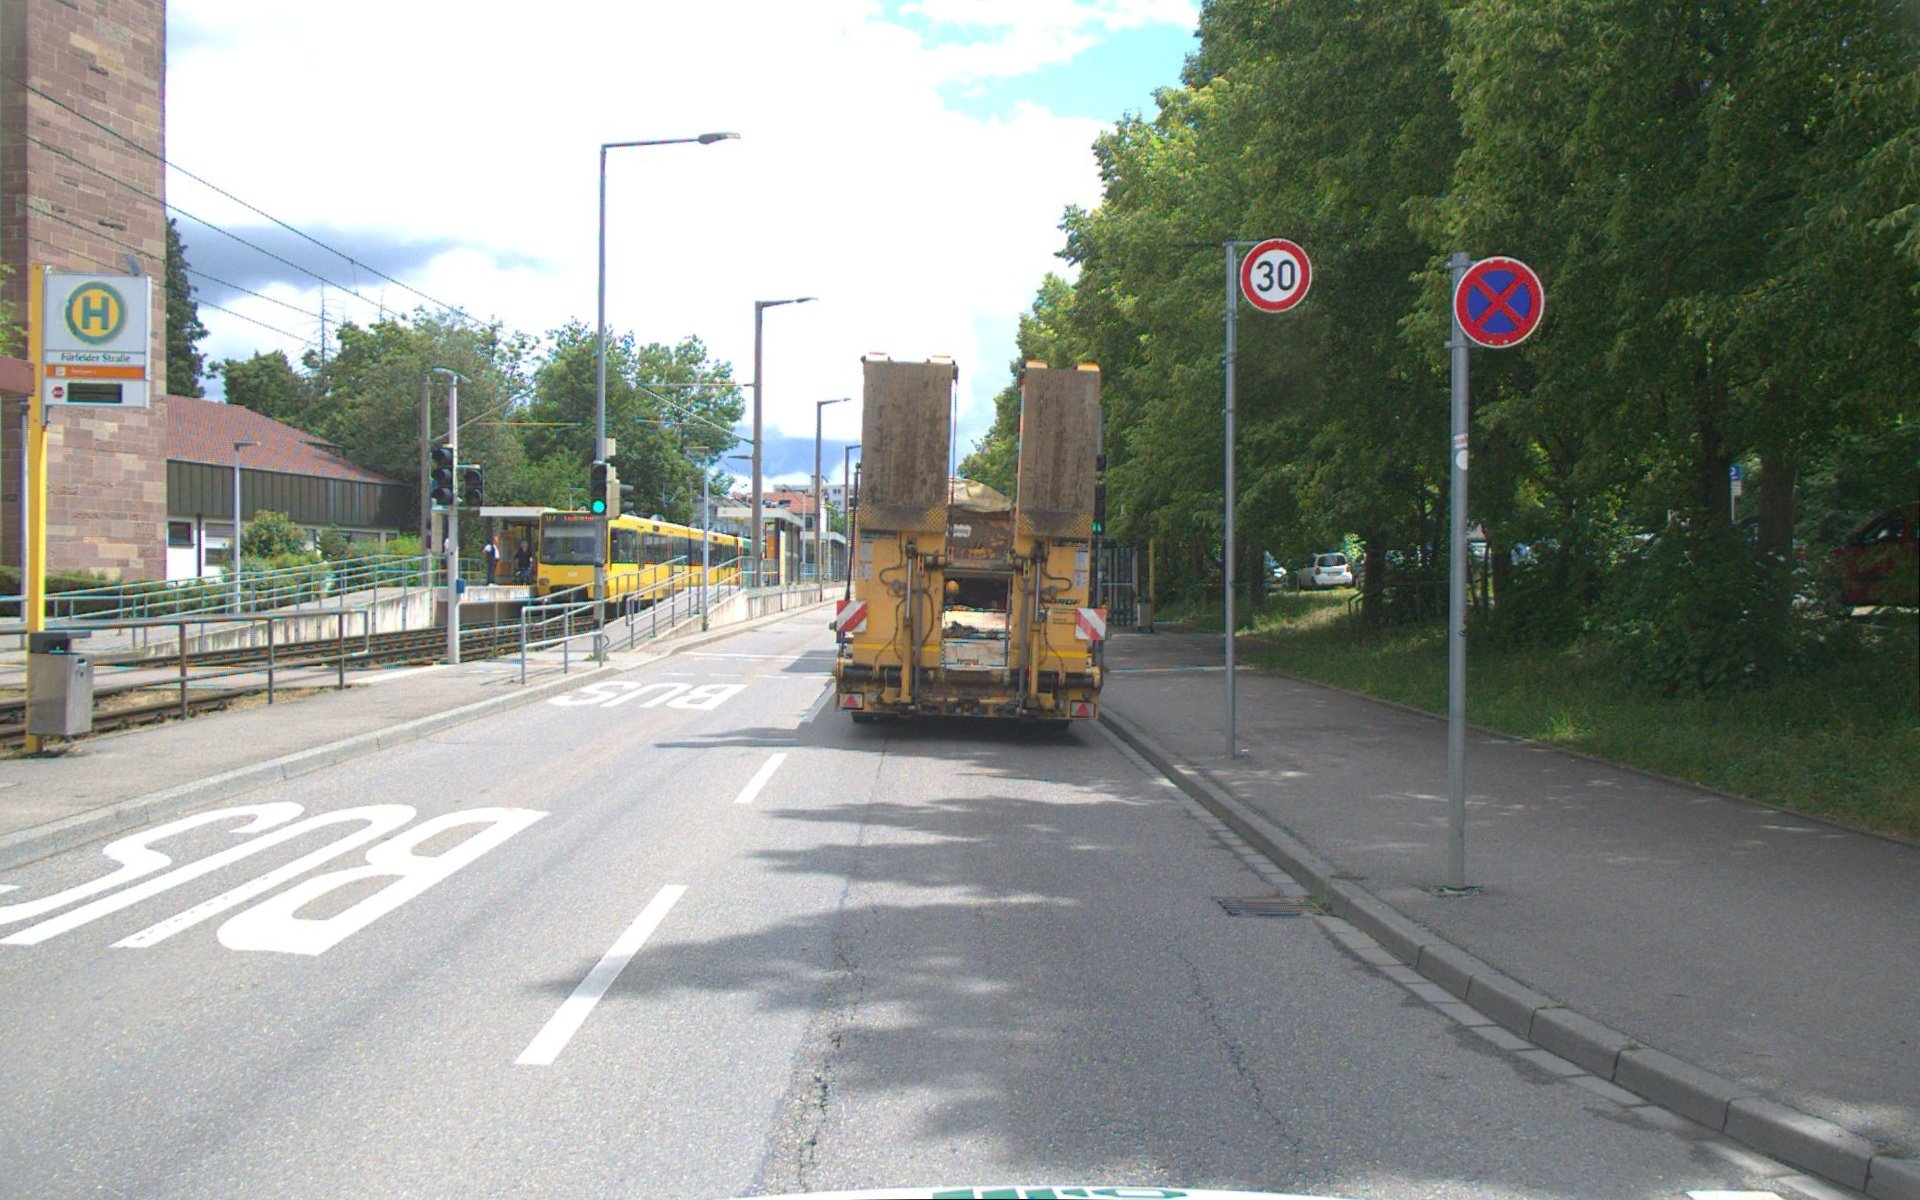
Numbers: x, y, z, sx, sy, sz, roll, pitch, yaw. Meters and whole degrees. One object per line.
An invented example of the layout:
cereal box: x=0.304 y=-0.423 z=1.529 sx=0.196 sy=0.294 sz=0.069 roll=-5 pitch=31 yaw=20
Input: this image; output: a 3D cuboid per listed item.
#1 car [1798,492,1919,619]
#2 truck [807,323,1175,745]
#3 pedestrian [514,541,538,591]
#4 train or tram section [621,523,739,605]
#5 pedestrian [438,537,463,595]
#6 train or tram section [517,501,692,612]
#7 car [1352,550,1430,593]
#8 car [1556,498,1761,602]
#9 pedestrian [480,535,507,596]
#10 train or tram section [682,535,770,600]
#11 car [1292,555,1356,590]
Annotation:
car: x=12.405 y=-0.578 z=20.947 sx=1.627 sy=1.526 sz=3.662 roll=-2 pitch=0 yaw=-1
truck: x=-0.138 y=-0.652 z=21.847 sx=3.335 sy=3.797 sz=13.729 roll=0 pitch=1 yaw=-4
pedestrian: x=-15.414 y=-1.191 z=58.701 sx=0.626 sy=1.737 sz=0.645 roll=2 pitch=0 yaw=-1
train or tram section: x=-13.666 y=-1.685 z=82.684 sx=3.045 sy=3.525 sz=18.991 roll=2 pitch=0 yaw=-1
pedestrian: x=-16.267 y=-1.089 z=52.846 sx=0.572 sy=1.809 sz=0.576 roll=2 pitch=0 yaw=-1
train or tram section: x=-13.188 y=-1.509 z=63.742 sx=3.045 sy=3.525 sz=18.821 roll=2 pitch=0 yaw=-1
car: x=15.711 y=-1.029 z=60.516 sx=1.580 sy=1.467 sz=4.352 roll=-3 pitch=1 yaw=-1
car: x=11.806 y=-0.811 z=28.250 sx=1.594 sy=1.540 sz=4.138 roll=-3 pitch=1 yaw=-1
pedestrian: x=-16.119 y=-1.188 z=57.191 sx=0.698 sy=2.049 sz=0.731 roll=2 pitch=0 yaw=-3
train or tram section: x=-14.143 y=-1.878 z=101.789 sx=3.045 sy=3.525 sz=19.193 roll=2 pitch=0 yaw=-1
car: x=15.873 y=-1.186 z=72.385 sx=1.803 sy=1.445 sz=4.123 roll=-2 pitch=0 yaw=-1
